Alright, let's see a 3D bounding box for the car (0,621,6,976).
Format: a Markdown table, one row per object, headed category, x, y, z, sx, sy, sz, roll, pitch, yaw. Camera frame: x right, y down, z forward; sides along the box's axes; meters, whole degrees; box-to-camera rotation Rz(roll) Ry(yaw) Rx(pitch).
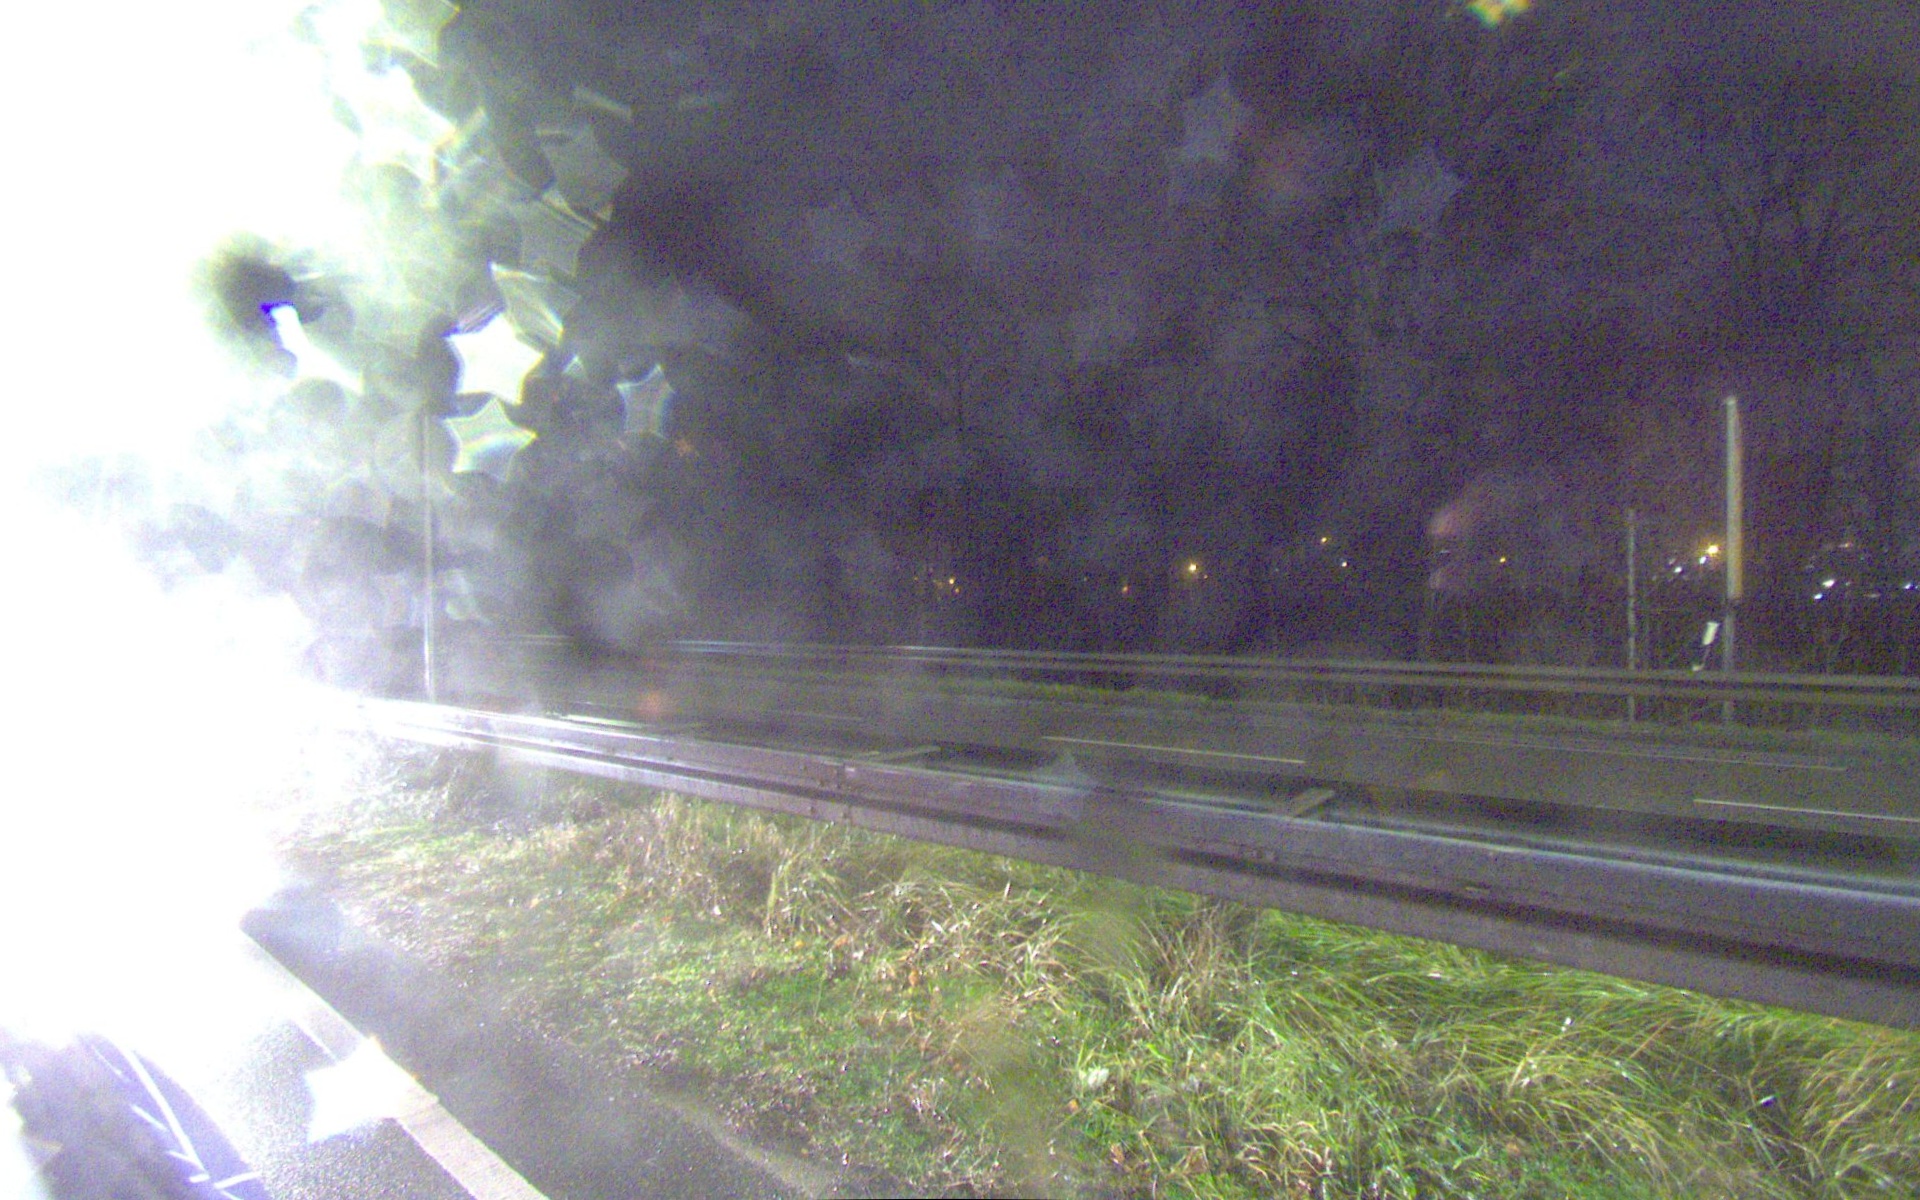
| category | x | y | z | sx | sy | sz | roll | pitch | yaw |
| --- | --- | --- | --- | --- | --- | --- | --- | --- | --- |
| car | -5.630 | 0.826 | 4.671 | 3.388 | 1.435 | 1.478 | -1 | -1 | 41 |
